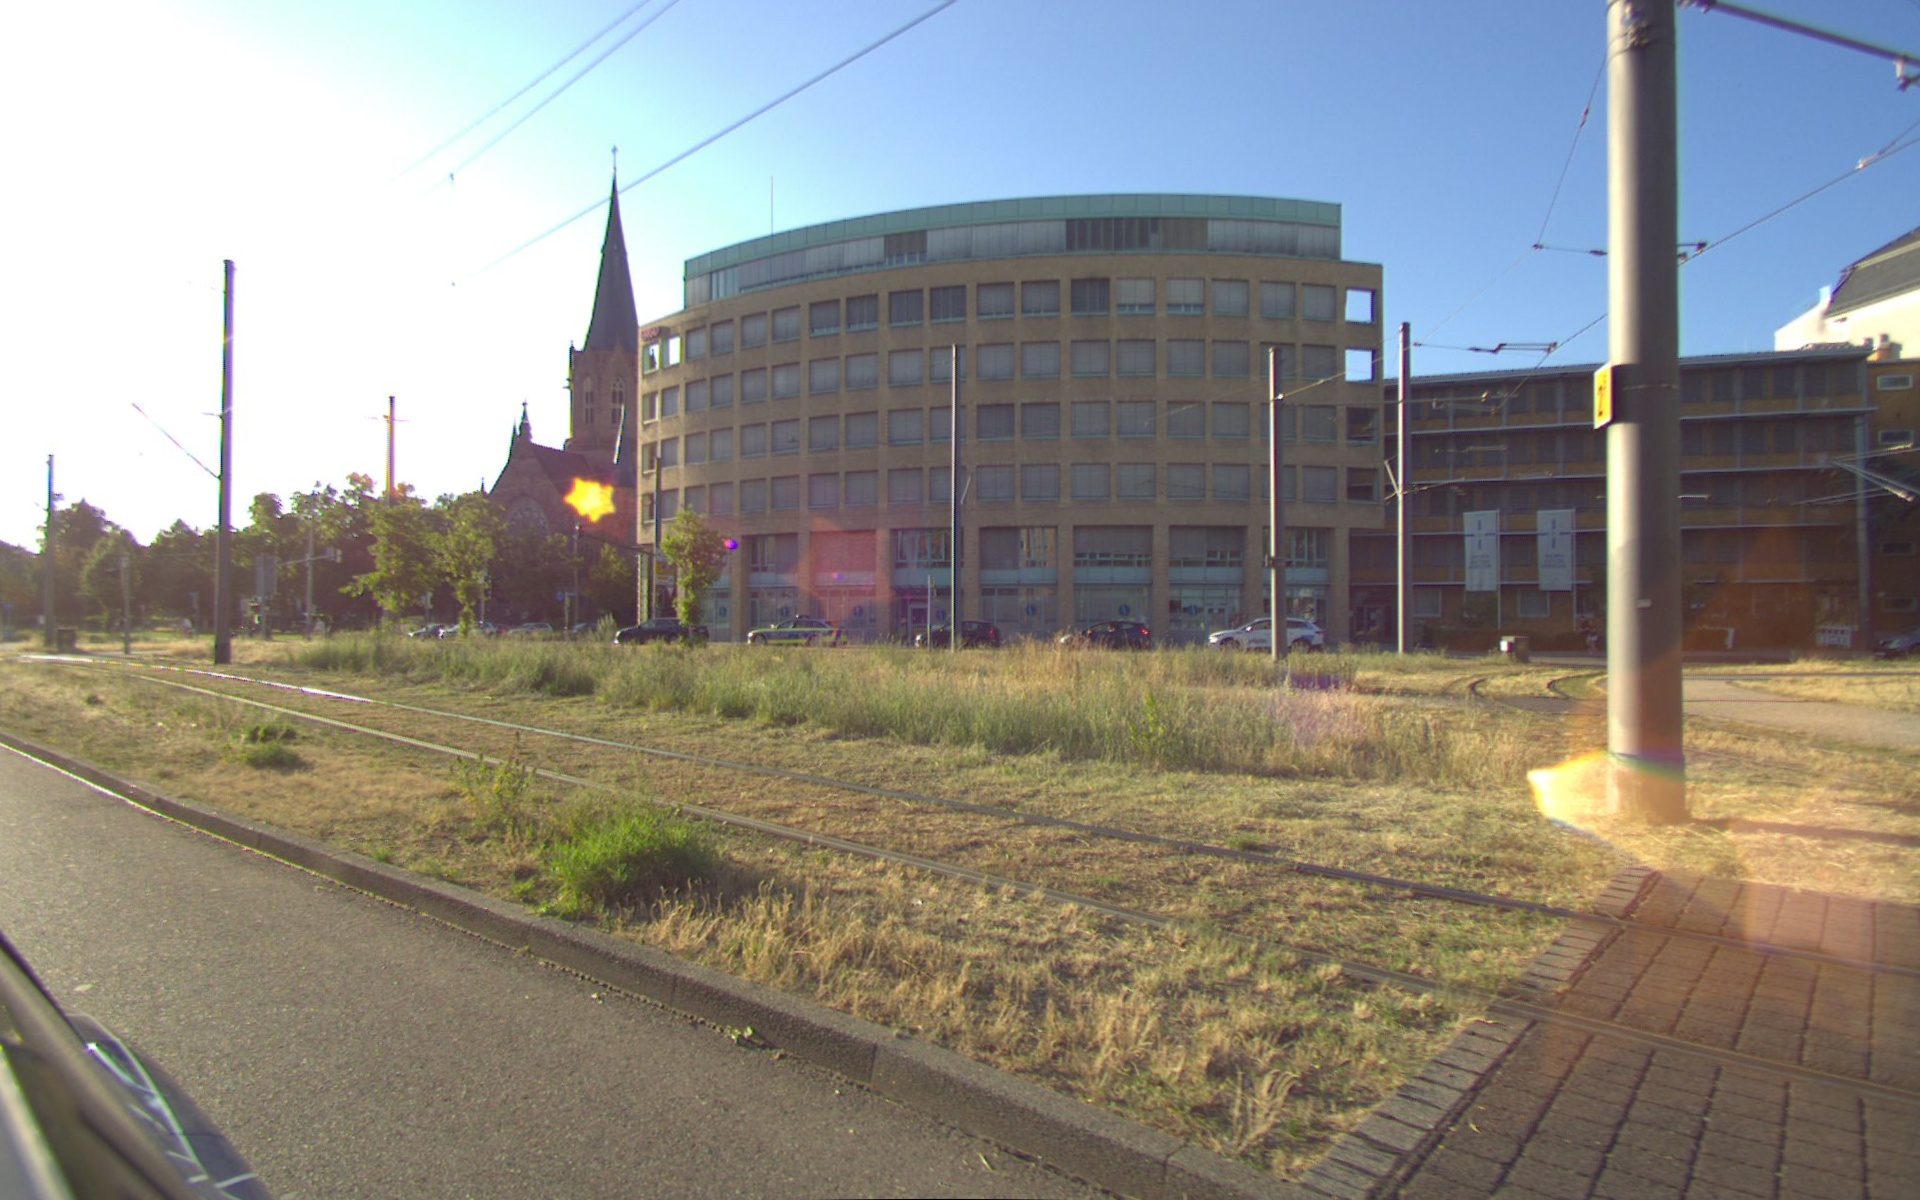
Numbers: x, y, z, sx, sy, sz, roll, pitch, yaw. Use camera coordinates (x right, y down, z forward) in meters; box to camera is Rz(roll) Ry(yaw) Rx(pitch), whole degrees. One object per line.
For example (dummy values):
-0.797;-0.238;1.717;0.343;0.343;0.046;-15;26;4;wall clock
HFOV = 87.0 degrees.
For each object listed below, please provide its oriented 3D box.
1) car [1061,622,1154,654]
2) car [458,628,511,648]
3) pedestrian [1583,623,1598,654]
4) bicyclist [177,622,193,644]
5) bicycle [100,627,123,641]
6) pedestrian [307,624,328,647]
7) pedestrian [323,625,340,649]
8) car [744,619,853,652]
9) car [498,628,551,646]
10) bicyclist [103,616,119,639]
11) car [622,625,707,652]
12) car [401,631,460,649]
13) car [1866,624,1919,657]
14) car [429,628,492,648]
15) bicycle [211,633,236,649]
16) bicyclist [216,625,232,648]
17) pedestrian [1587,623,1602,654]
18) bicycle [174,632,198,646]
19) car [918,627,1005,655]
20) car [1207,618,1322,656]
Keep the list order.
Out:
6.252;1.594;42.704;3.707;1.291;1.642;-1;-2;17;car
-39.817;3.194;84.862;1.811;1.597;3.975;-1;-2;18;car
29.703;1.804;47.682;0.481;1.441;0.412;-1;-2;19;pedestrian
-59.456;2.535;77.620;0.887;1.693;0.571;-1;0;19;bicyclist
-67.754;2.720;80.806;1.915;1.034;0.522;-1;1;19;bicycle
-45.759;2.531;72.084;1.098;1.685;0.733;-1;-2;22;pedestrian
-45.296;2.643;72.924;0.713;1.685;0.733;-1;-2;22;pedestrian
-7.544;1.636;47.304;4.739;1.492;1.885;-1;-2;17;car
-36.432;3.081;84.758;1.887;1.431;3.975;-1;-2;19;car
-67.805;2.207;80.814;0.887;1.841;0.571;-1;-1;19;bicyclist
-14.542;1.879;49.859;3.759;1.292;1.719;-1;-1;19;car
-41.767;3.144;79.931;1.887;1.431;3.975;-1;-2;19;car
38.373;1.584;39.866;3.685;1.268;1.567;-1;-1;8;car
-37.051;2.822;75.142;1.890;1.431;3.970;-1;-2;22;car
-53.123;2.951;73.023;1.904;1.155;0.457;-1;0;18;bicycle
-53.109;2.624;73.017;0.814;1.595;0.518;-1;-1;19;bicyclist
29.497;1.804;47.054;0.481;1.441;0.412;-1;-2;19;pedestrian
-59.348;2.974;77.589;1.915;1.034;0.457;-1;0;20;bicycle
0.090;1.805;44.703;3.568;1.162;1.516;-1;-1;18;car
12.260;1.493;40.989;4.264;1.494;1.770;-1;-2;12;car
